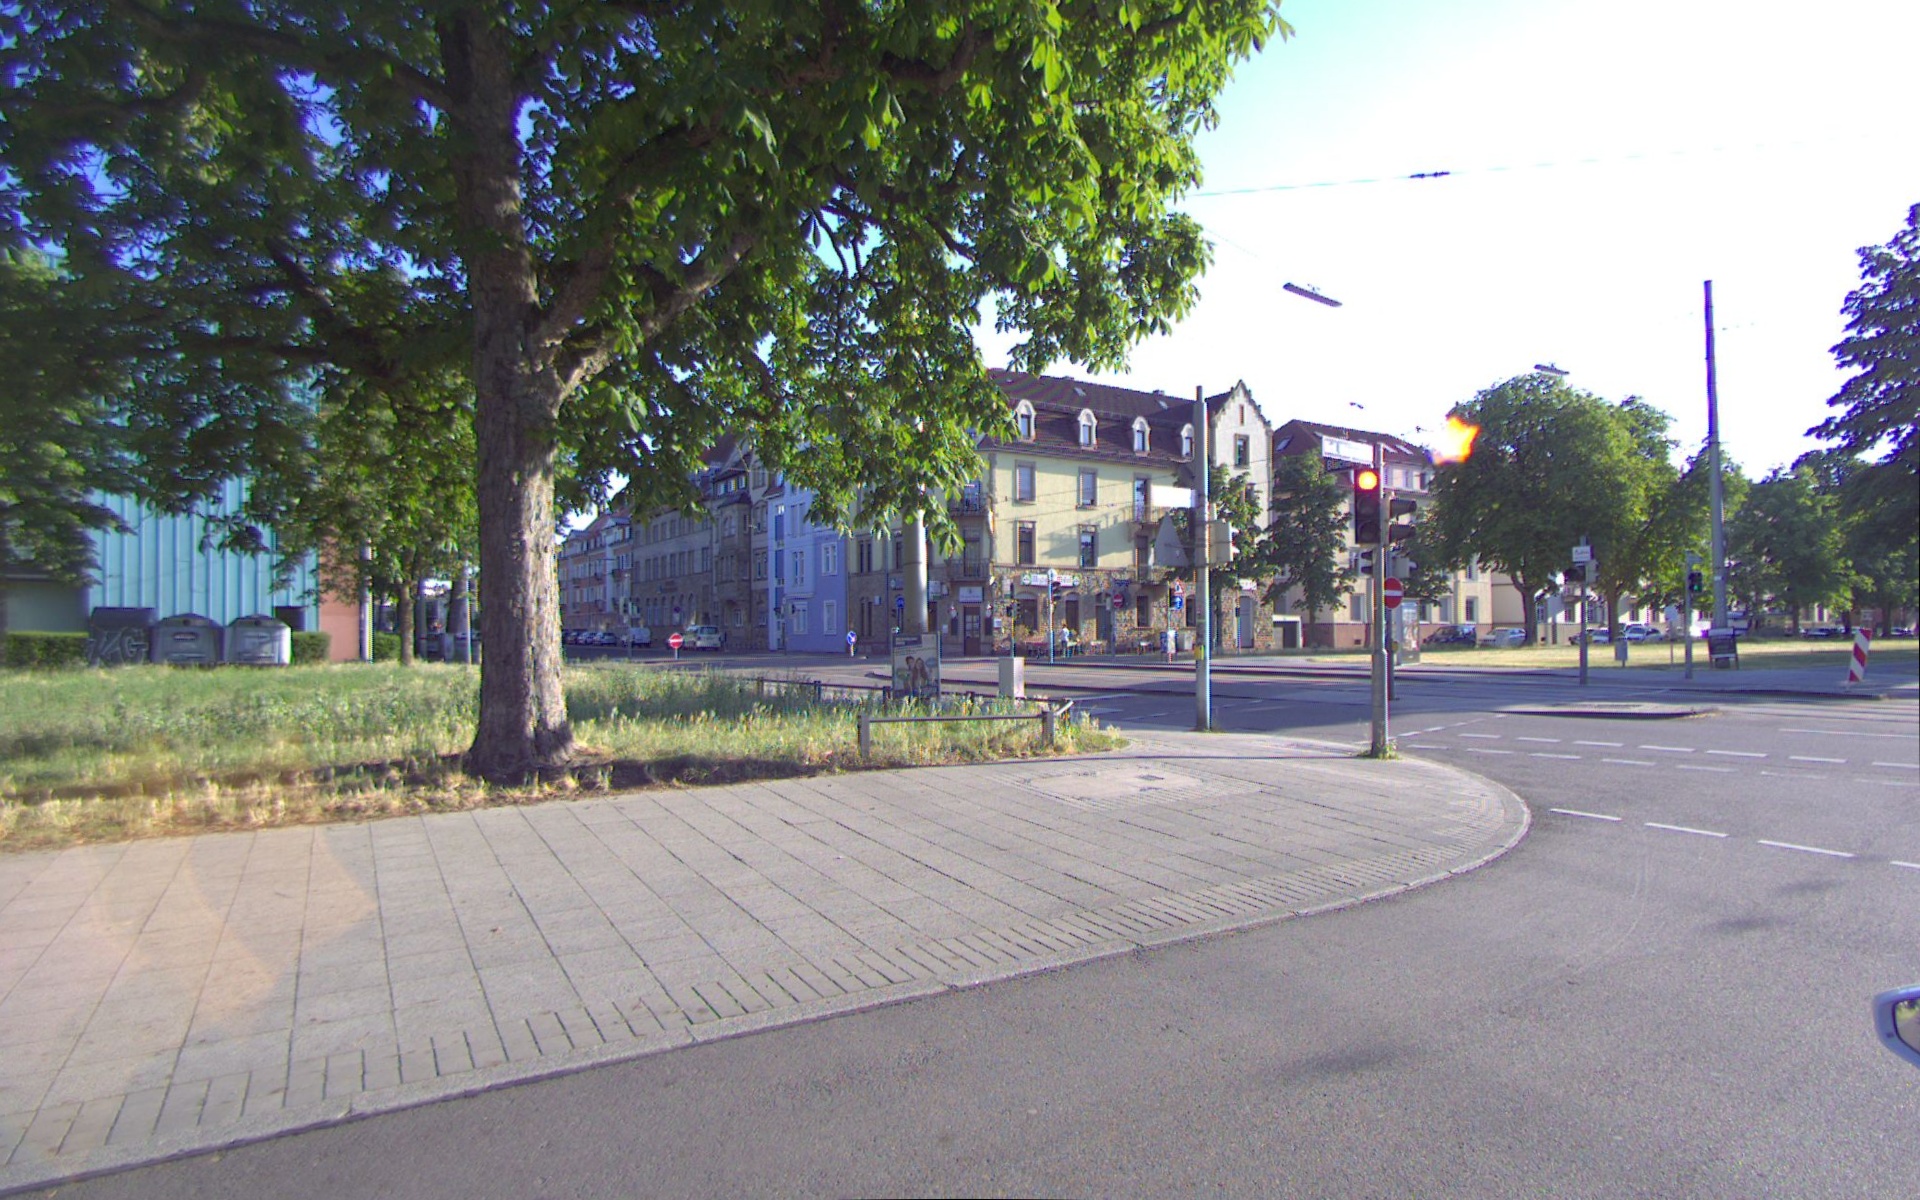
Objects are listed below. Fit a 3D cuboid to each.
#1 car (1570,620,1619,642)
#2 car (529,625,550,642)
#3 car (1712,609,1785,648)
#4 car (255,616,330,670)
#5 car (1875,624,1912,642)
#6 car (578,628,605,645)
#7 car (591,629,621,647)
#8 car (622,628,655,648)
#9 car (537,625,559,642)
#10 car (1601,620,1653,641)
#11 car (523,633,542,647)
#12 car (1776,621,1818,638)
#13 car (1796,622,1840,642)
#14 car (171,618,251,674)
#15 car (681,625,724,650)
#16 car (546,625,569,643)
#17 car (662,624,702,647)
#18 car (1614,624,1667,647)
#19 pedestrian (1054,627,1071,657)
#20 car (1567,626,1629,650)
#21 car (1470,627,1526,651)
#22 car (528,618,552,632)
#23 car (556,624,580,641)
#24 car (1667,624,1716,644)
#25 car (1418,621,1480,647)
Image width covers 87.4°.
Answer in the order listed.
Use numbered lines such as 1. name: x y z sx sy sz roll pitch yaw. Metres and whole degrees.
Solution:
1. car: 52.845 2.585 83.623 4.142 1.654 1.707 2 0 -30
2. car: -54.770 4.361 130.895 1.756 2.040 3.790 2 0 -34
3. car: 67.956 2.397 86.511 7.764 3.173 2.379 1 1 -32
4. car: -22.873 1.533 34.460 1.979 1.693 5.177 2 -4 -34
5. car: 97.853 3.429 105.259 4.075 1.804 1.802 2 0 -31
6. car: -39.702 3.902 108.298 1.816 1.692 3.911 2 0 -34
7. car: -36.499 3.940 103.586 1.980 1.694 3.743 2 0 -34
8. car: -30.044 3.507 93.827 1.980 1.694 3.743 2 0 -34
9. car: -51.962 4.199 126.663 1.789 2.040 3.772 2 0 -33
10. car: 58.326 2.640 87.781 4.517 1.681 1.984 2 0 -30
11. car: -57.355 5.382 134.868 1.713 1.694 3.638 2 0 -33
12. car: 86.970 3.064 104.375 4.323 1.681 1.984 2 0 -30
13. car: 80.914 3.010 94.703 4.266 1.696 1.869 2 0 -31
14. car: -24.617 1.469 33.156 1.948 1.693 5.172 1 -2 -35
15. car: -20.086 2.880 78.247 2.011 1.760 3.743 2 0 -34
16. car: -48.982 4.095 122.094 1.805 2.040 3.924 2 0 -34
17. car: -22.997 2.919 83.052 1.980 1.763 3.962 1 0 -34
18. car: 51.632 2.675 76.209 4.372 1.575 1.785 0 1 -34
19. pedestrian: 5.765 2.372 56.373 0.676 1.646 0.612 2 0 -34
20. car: 46.506 2.772 73.234 4.517 1.681 1.984 2 0 -30
21. car: 40.916 2.960 76.362 3.953 1.681 1.984 2 0 -30
22. car: -58.237 3.492 139.358 1.912 1.715 3.951 2 0 -41
23. car: -45.987 3.782 117.733 1.782 1.855 3.755 2 0 -34
24. car: 66.831 3.092 91.781 4.517 1.681 1.984 2 0 -30
25. car: 35.681 2.491 73.261 4.261 1.759 1.984 2 0 -30
